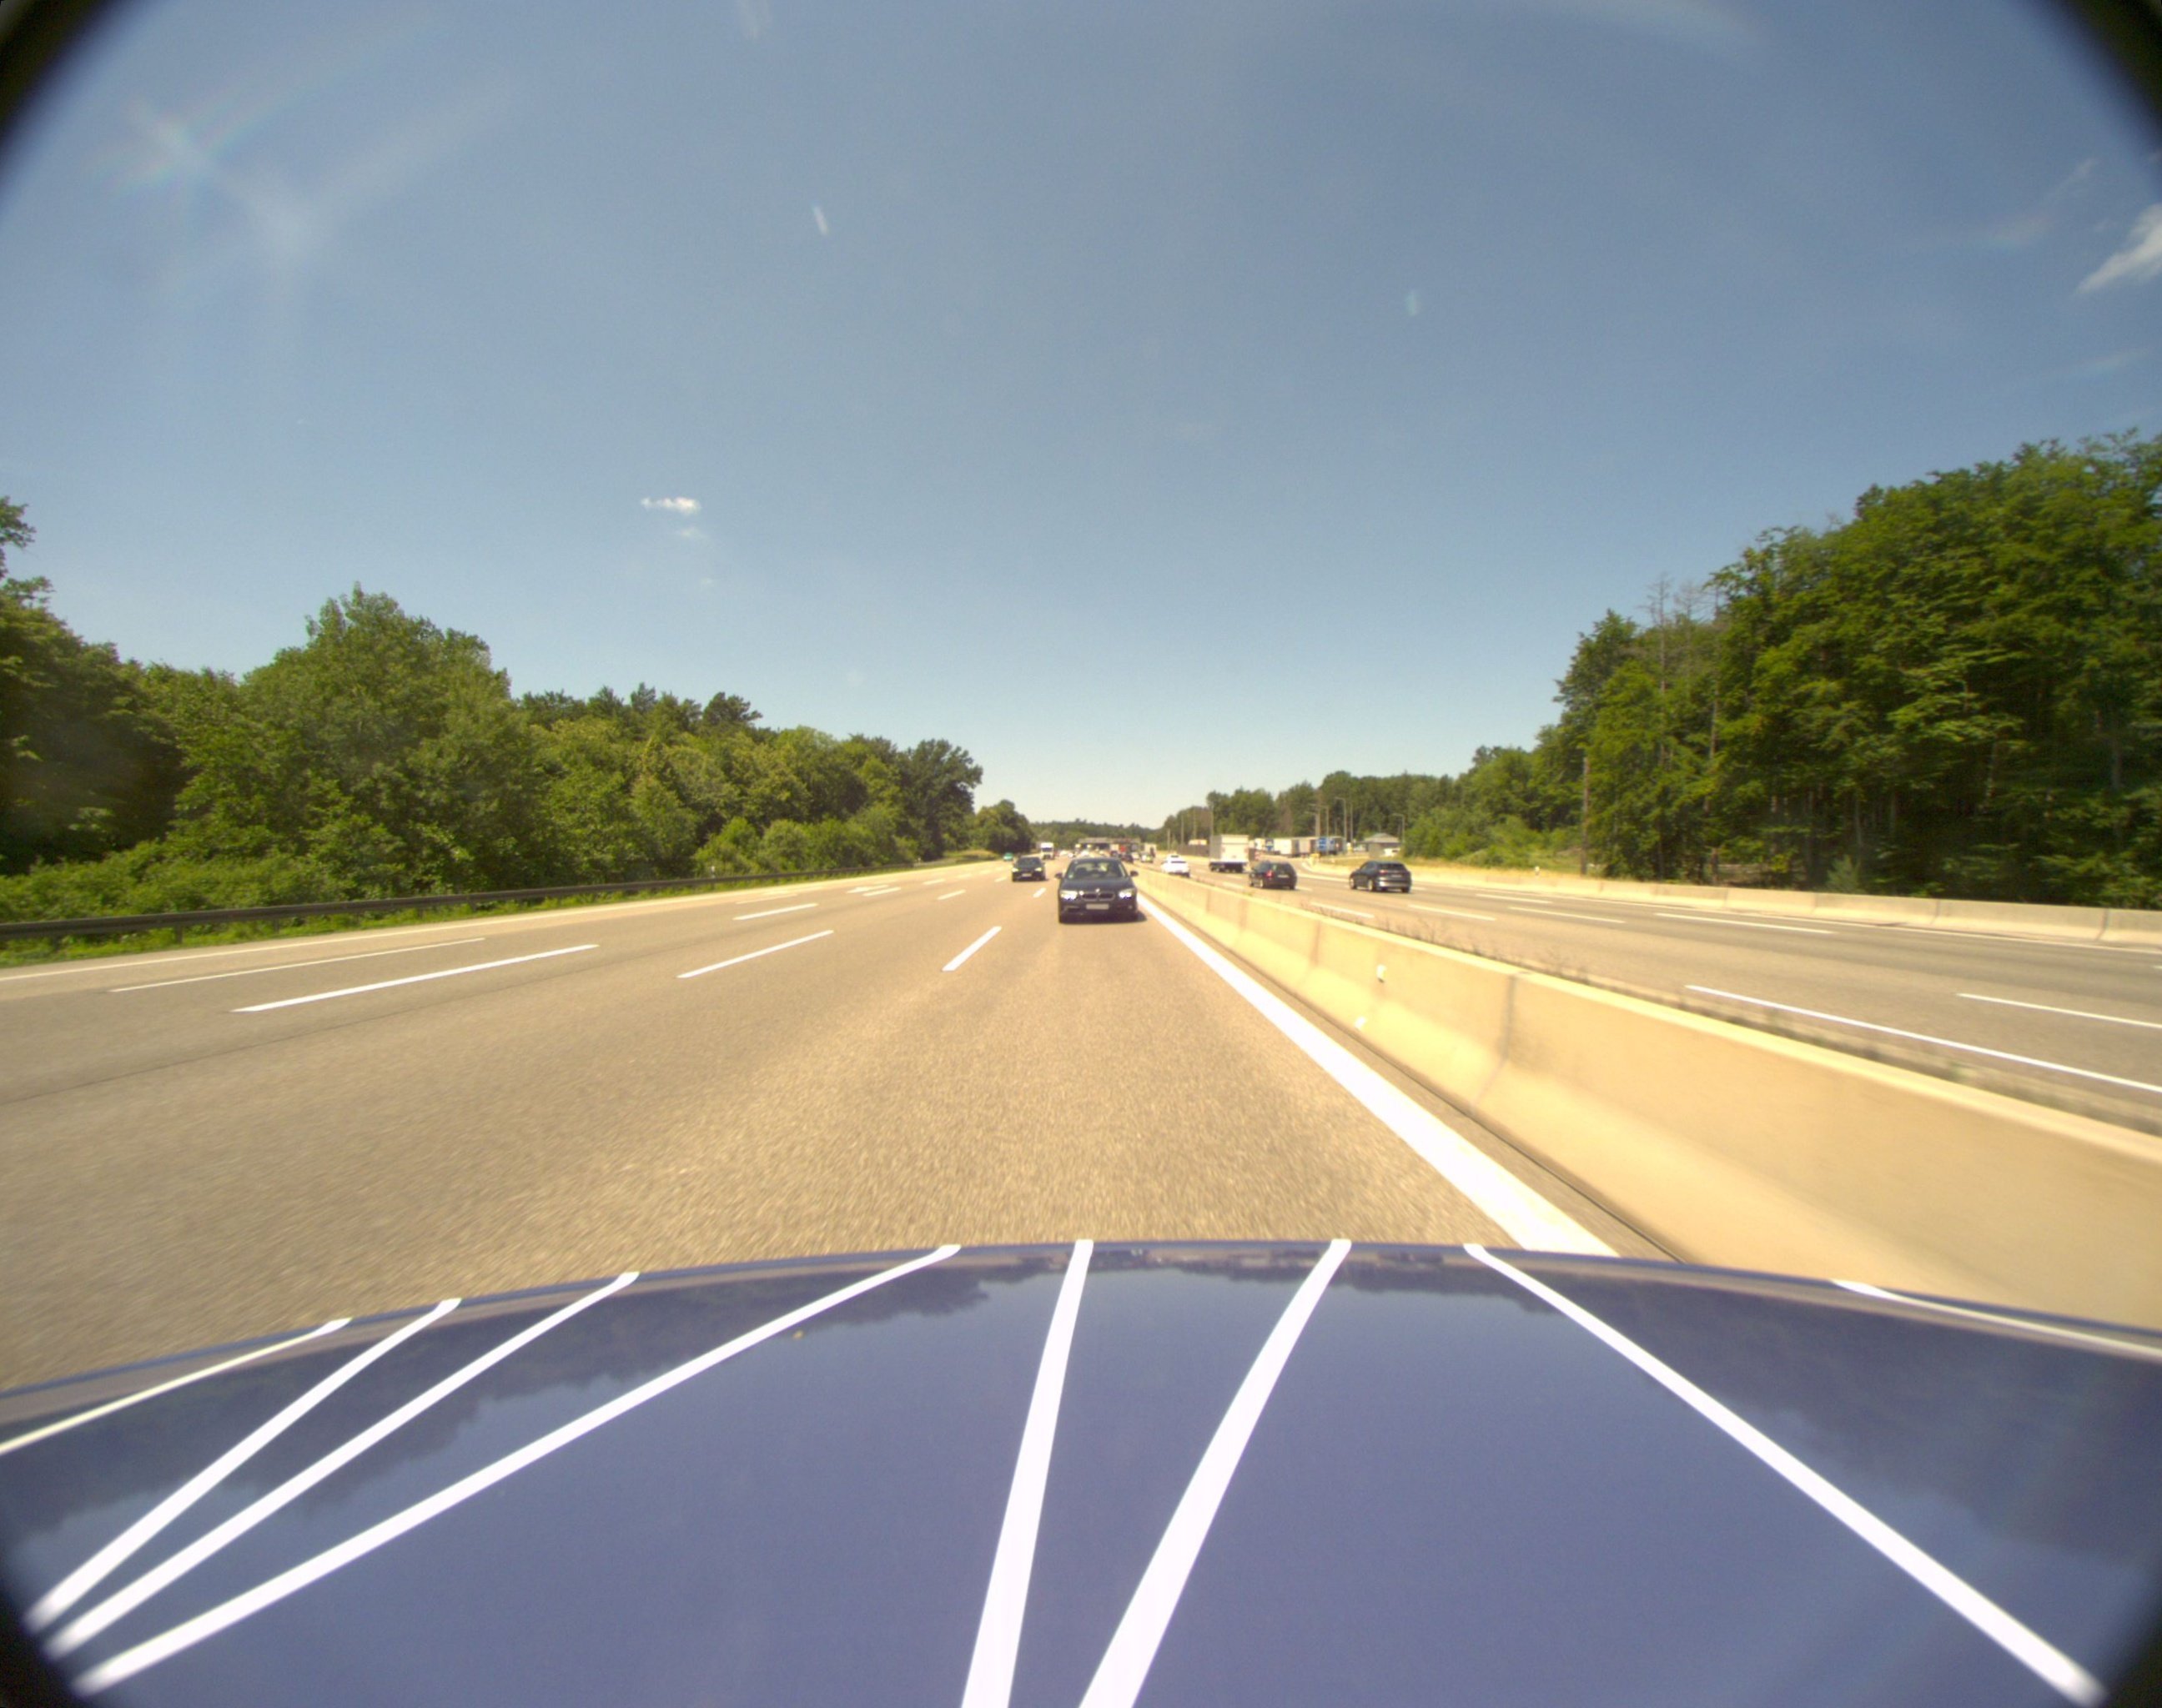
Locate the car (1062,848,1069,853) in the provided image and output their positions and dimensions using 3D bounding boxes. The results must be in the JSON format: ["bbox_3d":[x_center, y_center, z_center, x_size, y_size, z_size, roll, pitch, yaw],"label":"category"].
[{"bbox_3d":[-4.551,-1.074,228.898,1.874,1.560,4.127,0,0,1],"label":"car"}]

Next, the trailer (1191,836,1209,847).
[{"bbox_3d":[33.373,-3.512,214.296,2.979,3.106,14.607,0,1,1],"label":"trailer"}]

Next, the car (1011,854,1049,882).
[{"bbox_3d":[-2.921,0.772,44.300,1.834,1.454,4.203,1,1,0],"label":"car"}]

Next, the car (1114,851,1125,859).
[{"bbox_3d":[7.447,0.236,148.738,1.917,1.456,4.586,0,1,0],"label":"car"}]

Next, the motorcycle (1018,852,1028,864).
[{"bbox_3d":[-6.783,0.440,88.395,0.925,1.311,2.997,0,1,1],"label":"motorcycle"}]

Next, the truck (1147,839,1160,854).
[{"bbox_3d":[20.688,-2.044,218.219,2.842,4.173,10.595,0,1,1],"label":"truck"}]

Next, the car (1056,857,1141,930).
[{"bbox_3d":[0.423,0.841,18.271,1.741,1.450,4.542,-2,0,1],"label":"car"}]

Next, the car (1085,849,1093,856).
[{"bbox_3d":[2.015,-0.416,200.441,1.998,1.935,4.128,0,0,2],"label":"car"}]

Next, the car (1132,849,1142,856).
[{"bbox_3d":[11.714,-0.404,158.771,1.765,1.455,4.839,0,1,0],"label":"car"}]

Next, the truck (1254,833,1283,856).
[{"bbox_3d":[47.297,-2.343,191.329,8.506,5.580,3.219,-1,1,-45],"label":"truck"}]

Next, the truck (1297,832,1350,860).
[{"bbox_3d":[51.523,-1.636,161.115,16.746,5.580,3.214,0,1,-44],"label":"truck"}]

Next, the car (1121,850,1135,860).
[{"bbox_3d":[7.063,0.175,113.982,1.917,1.456,4.362,0,1,0],"label":"car"}]

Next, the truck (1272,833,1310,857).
[{"bbox_3d":[49.545,-2.156,178.986,11.562,5.580,3.358,-1,1,-45],"label":"truck"}]

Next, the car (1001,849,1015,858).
[{"bbox_3d":[-13.486,-0.083,140.377,1.998,1.671,4.127,1,1,2],"label":"car"}]

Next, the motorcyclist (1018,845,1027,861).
[{"bbox_3d":[-6.771,-0.111,88.341,0.914,1.926,0.905,0,1,0],"label":"motorcyclist"}]

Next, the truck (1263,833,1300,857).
[{"bbox_3d":[48.275,-2.219,182.460,11.562,5.580,3.219,-1,1,-45],"label":"truck"}]

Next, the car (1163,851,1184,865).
[{"bbox_3d":[11.114,0.473,91.629,1.917,1.651,4.688,1,0,0],"label":"car"}]

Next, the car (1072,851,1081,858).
[{"bbox_3d":[-1.139,0.122,180.944,1.998,1.671,4.127,1,1,2],"label":"car"}]

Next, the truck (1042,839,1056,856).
[{"bbox_3d":[-6.272,-1.373,149.159,2.428,3.237,8.688,1,1,0],"label":"truck"}]

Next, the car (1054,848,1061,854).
[{"bbox_3d":[-6.423,-0.816,207.799,1.874,1.560,4.127,0,0,1],"label":"car"}]

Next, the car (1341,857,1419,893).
[{"bbox_3d":[15.384,1.031,39.443,2.052,1.665,5.188,1,0,1],"label":"car"}]

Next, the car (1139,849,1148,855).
[{"bbox_3d":[16.029,-0.452,194.709,1.757,1.478,3.814,2,1,0],"label":"car"}]

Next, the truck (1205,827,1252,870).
[{"bbox_3d":[14.438,-0.530,74.906,2.865,3.990,9.467,0,1,1],"label":"truck"}]

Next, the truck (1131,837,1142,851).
[{"bbox_3d":[15.873,-2.830,217.121,2.584,3.819,7.016,1,1,0],"label":"truck"}]

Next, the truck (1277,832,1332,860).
[{"bbox_3d":[48.095,-1.702,162.795,16.746,5.580,3.440,0,1,-44],"label":"truck"}]

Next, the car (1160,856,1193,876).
[{"bbox_3d":[7.041,0.871,56.346,1.829,1.386,4.464,0,0,-1],"label":"car"}]

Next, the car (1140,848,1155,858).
[{"bbox_3d":[10.927,-0.140,125.243,1.917,1.503,5.231,1,0,0],"label":"car"}]

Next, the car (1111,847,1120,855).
[{"bbox_3d":[8.359,-0.712,185.926,1.903,1.942,5.656,1,1,0],"label":"car"}]

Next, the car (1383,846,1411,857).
[{"bbox_3d":[59.924,-0.420,144.063,4.733,2.002,2.088,0,1,15],"label":"car"}]

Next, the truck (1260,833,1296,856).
[{"bbox_3d":[48.759,-2.287,187.963,11.562,5.580,3.219,-1,1,-45],"label":"truck"}]

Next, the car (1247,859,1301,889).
[{"bbox_3d":[10.106,1.010,40.158,1.706,1.419,4.613,1,0,0],"label":"car"}]
